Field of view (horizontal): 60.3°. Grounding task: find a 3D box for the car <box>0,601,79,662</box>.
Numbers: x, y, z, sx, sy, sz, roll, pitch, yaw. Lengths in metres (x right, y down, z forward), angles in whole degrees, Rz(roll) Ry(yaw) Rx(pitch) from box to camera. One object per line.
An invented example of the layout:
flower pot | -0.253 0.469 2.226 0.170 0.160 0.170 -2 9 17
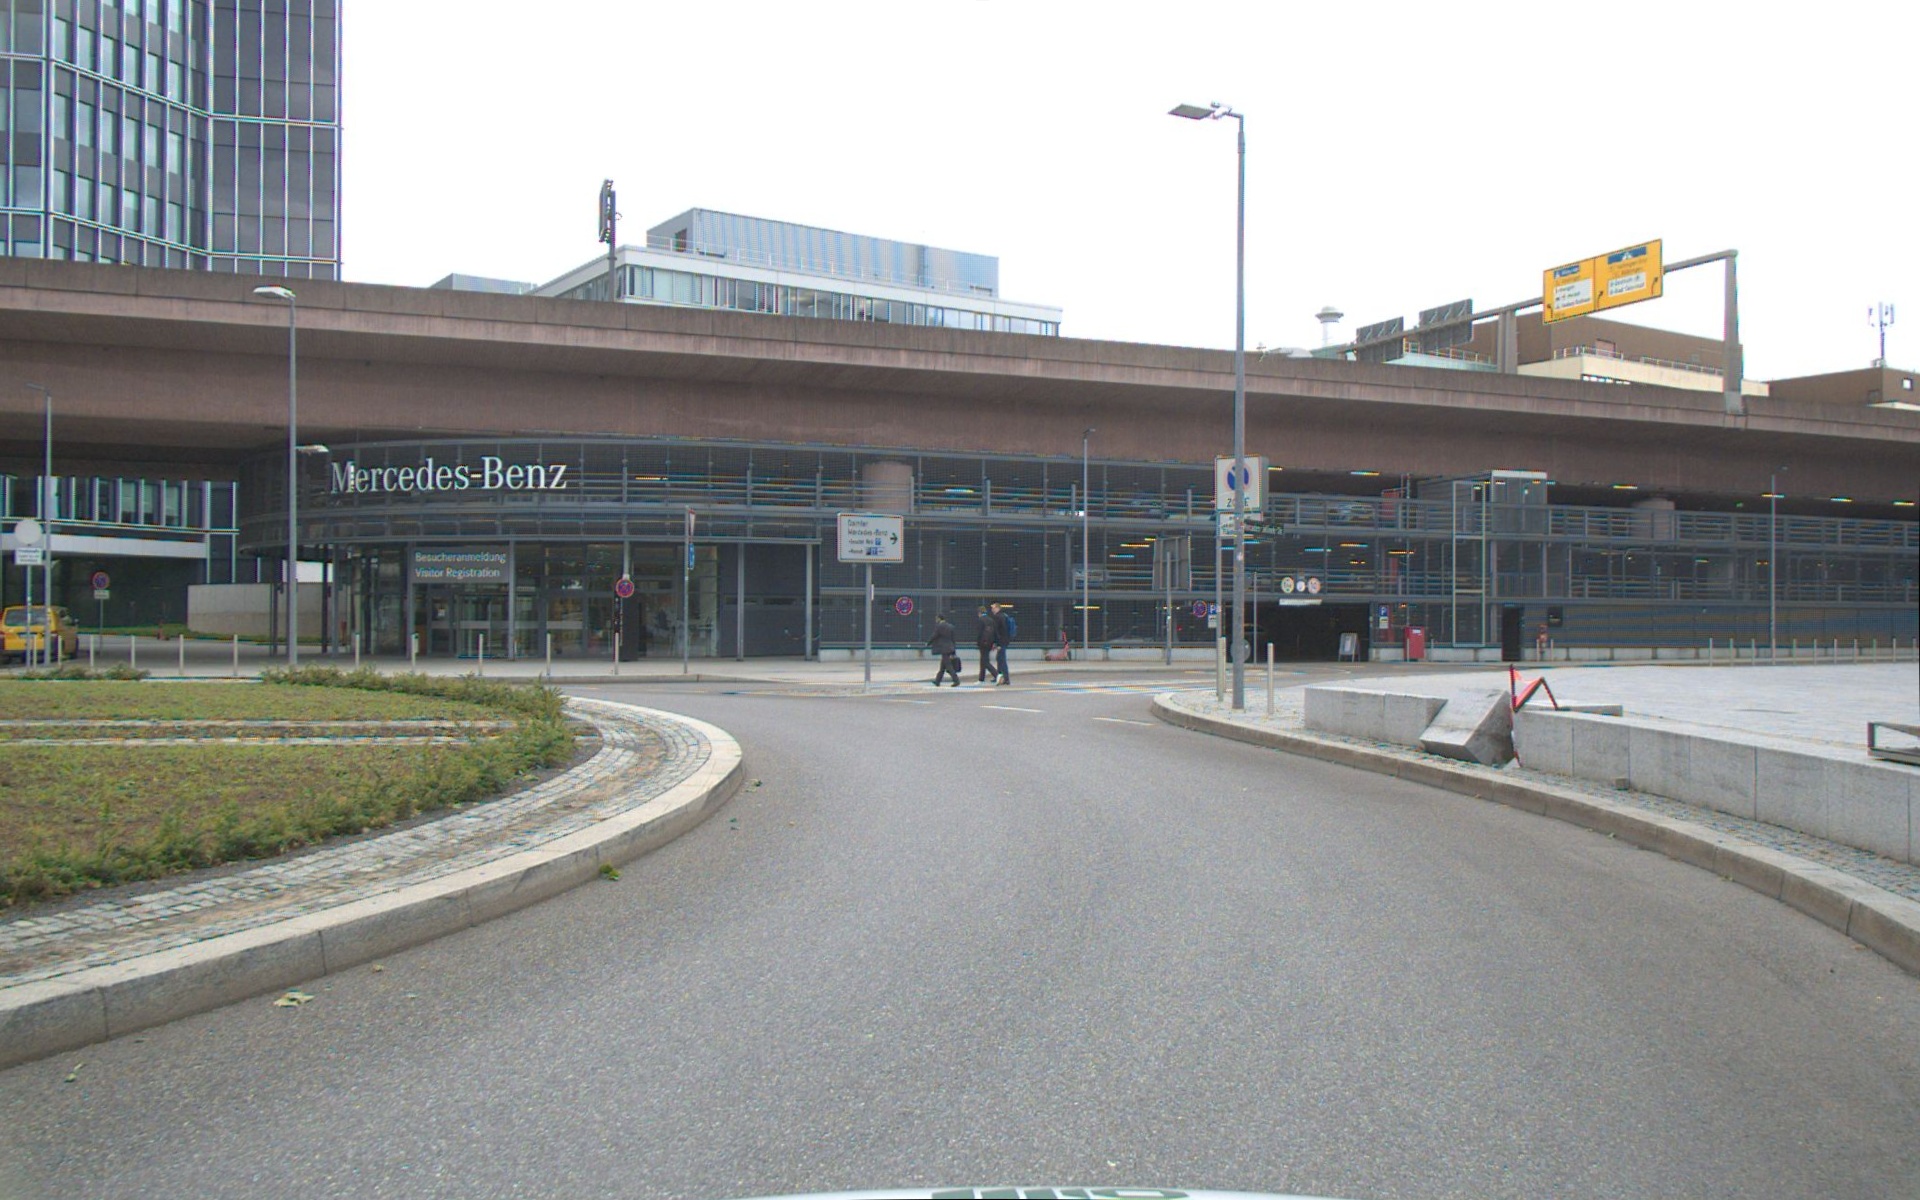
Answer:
car | -32.539 1.131 58.381 1.965 2.049 3.974 1 -2 -21

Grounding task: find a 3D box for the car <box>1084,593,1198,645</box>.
car | 7.005 0.753 64.057 3.932 1.937 1.986 1 -1 -23

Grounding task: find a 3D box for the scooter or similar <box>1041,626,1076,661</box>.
scooter or similar | 3.565 1.575 59.723 1.214 1.215 0.353 2 -2 -24

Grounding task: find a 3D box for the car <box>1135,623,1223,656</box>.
car | 10.954 1.971 82.669 3.932 1.602 1.986 1 -1 -23

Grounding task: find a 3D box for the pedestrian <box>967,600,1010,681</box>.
pedestrian | 0.624 0.896 36.720 0.816 1.771 0.688 1 -2 -11

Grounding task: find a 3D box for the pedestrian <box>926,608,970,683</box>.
pedestrian | -0.267 0.994 36.075 0.816 1.598 0.688 1 -2 -12

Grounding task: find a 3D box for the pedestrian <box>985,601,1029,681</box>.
pedestrian | 1.054 0.933 37.355 0.817 1.771 0.687 1 -2 -15
